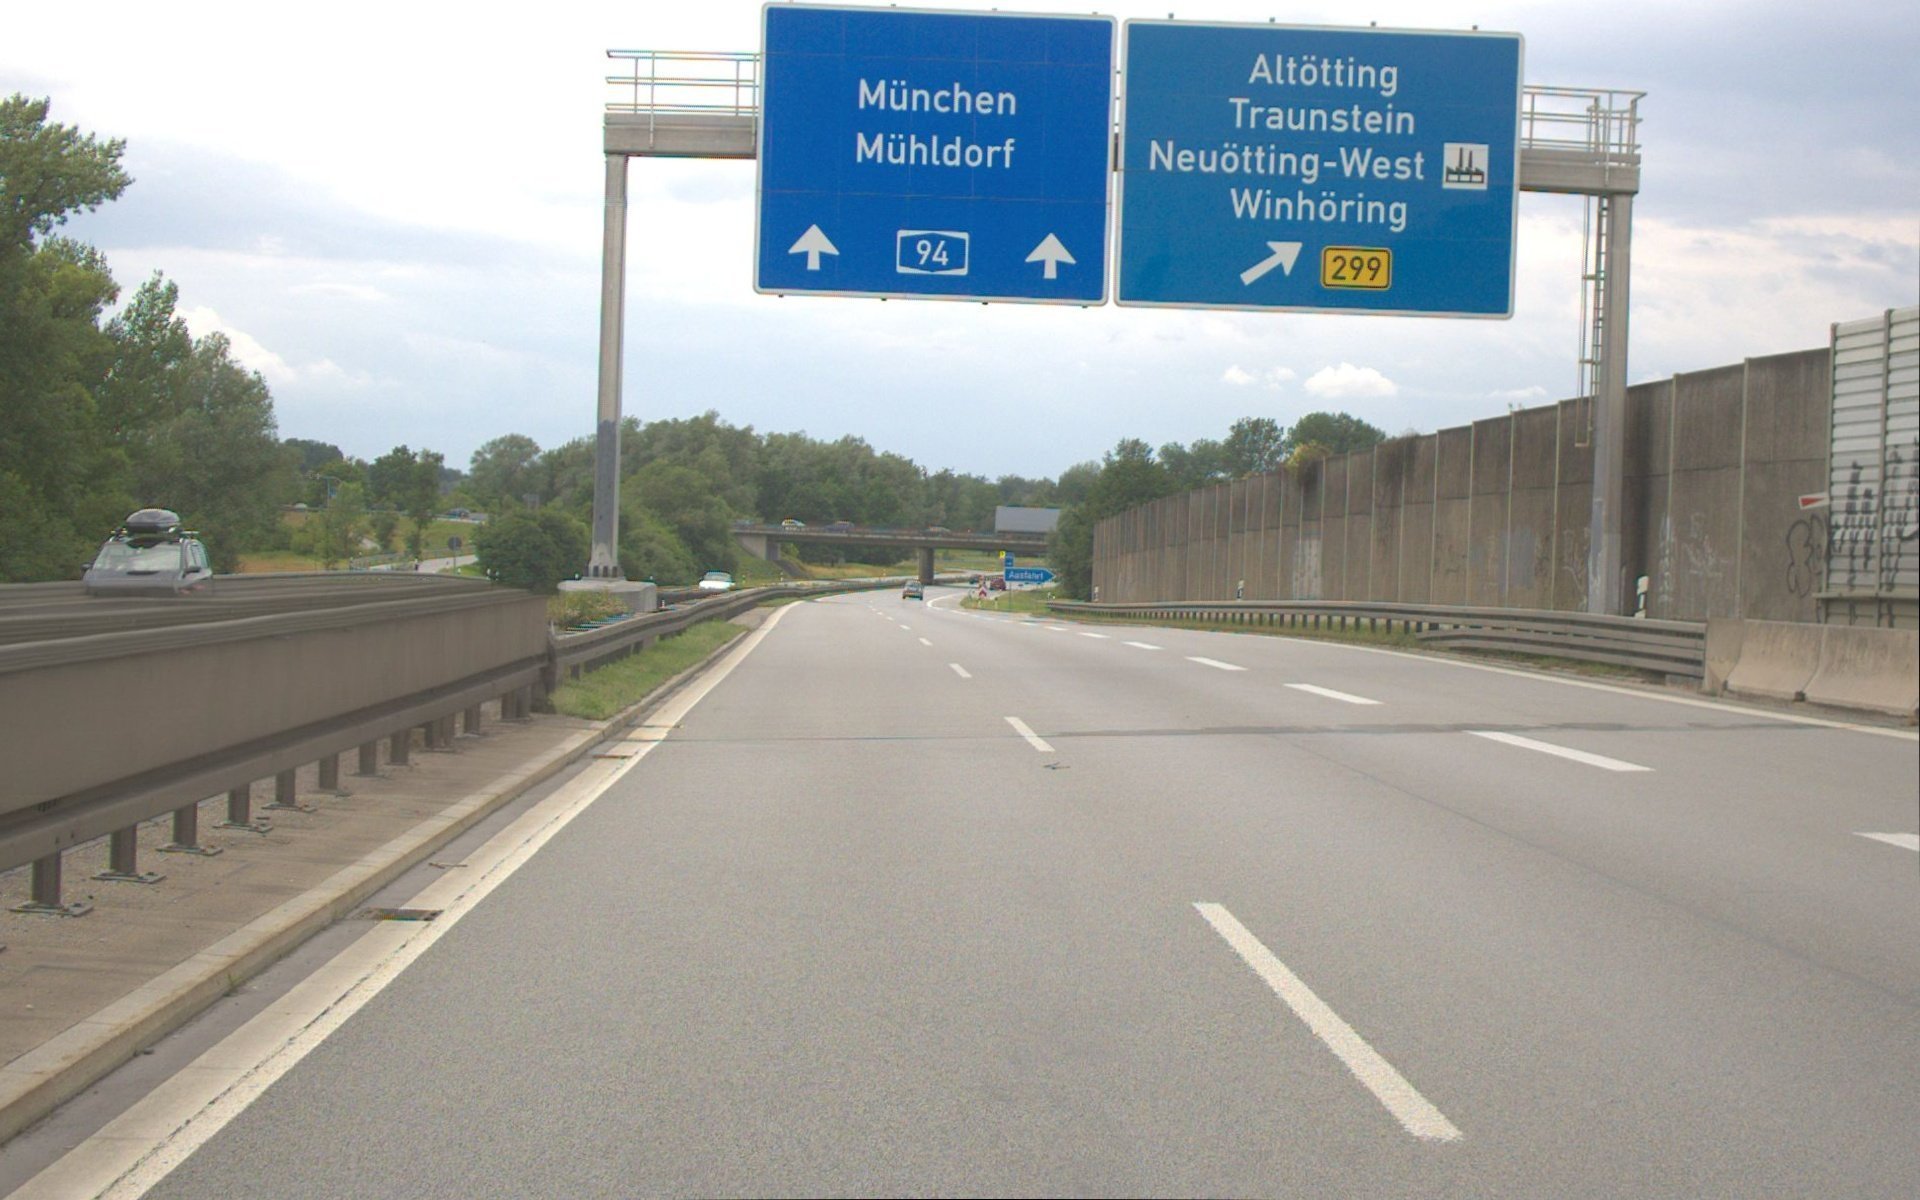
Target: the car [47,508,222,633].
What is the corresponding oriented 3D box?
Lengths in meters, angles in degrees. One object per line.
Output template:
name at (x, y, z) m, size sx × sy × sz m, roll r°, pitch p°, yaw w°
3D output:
car at (-13.850, -0.491, 57.931) m, size 1.993 × 1.995 × 4.744 m, roll 1°, pitch 0°, yaw -3°
